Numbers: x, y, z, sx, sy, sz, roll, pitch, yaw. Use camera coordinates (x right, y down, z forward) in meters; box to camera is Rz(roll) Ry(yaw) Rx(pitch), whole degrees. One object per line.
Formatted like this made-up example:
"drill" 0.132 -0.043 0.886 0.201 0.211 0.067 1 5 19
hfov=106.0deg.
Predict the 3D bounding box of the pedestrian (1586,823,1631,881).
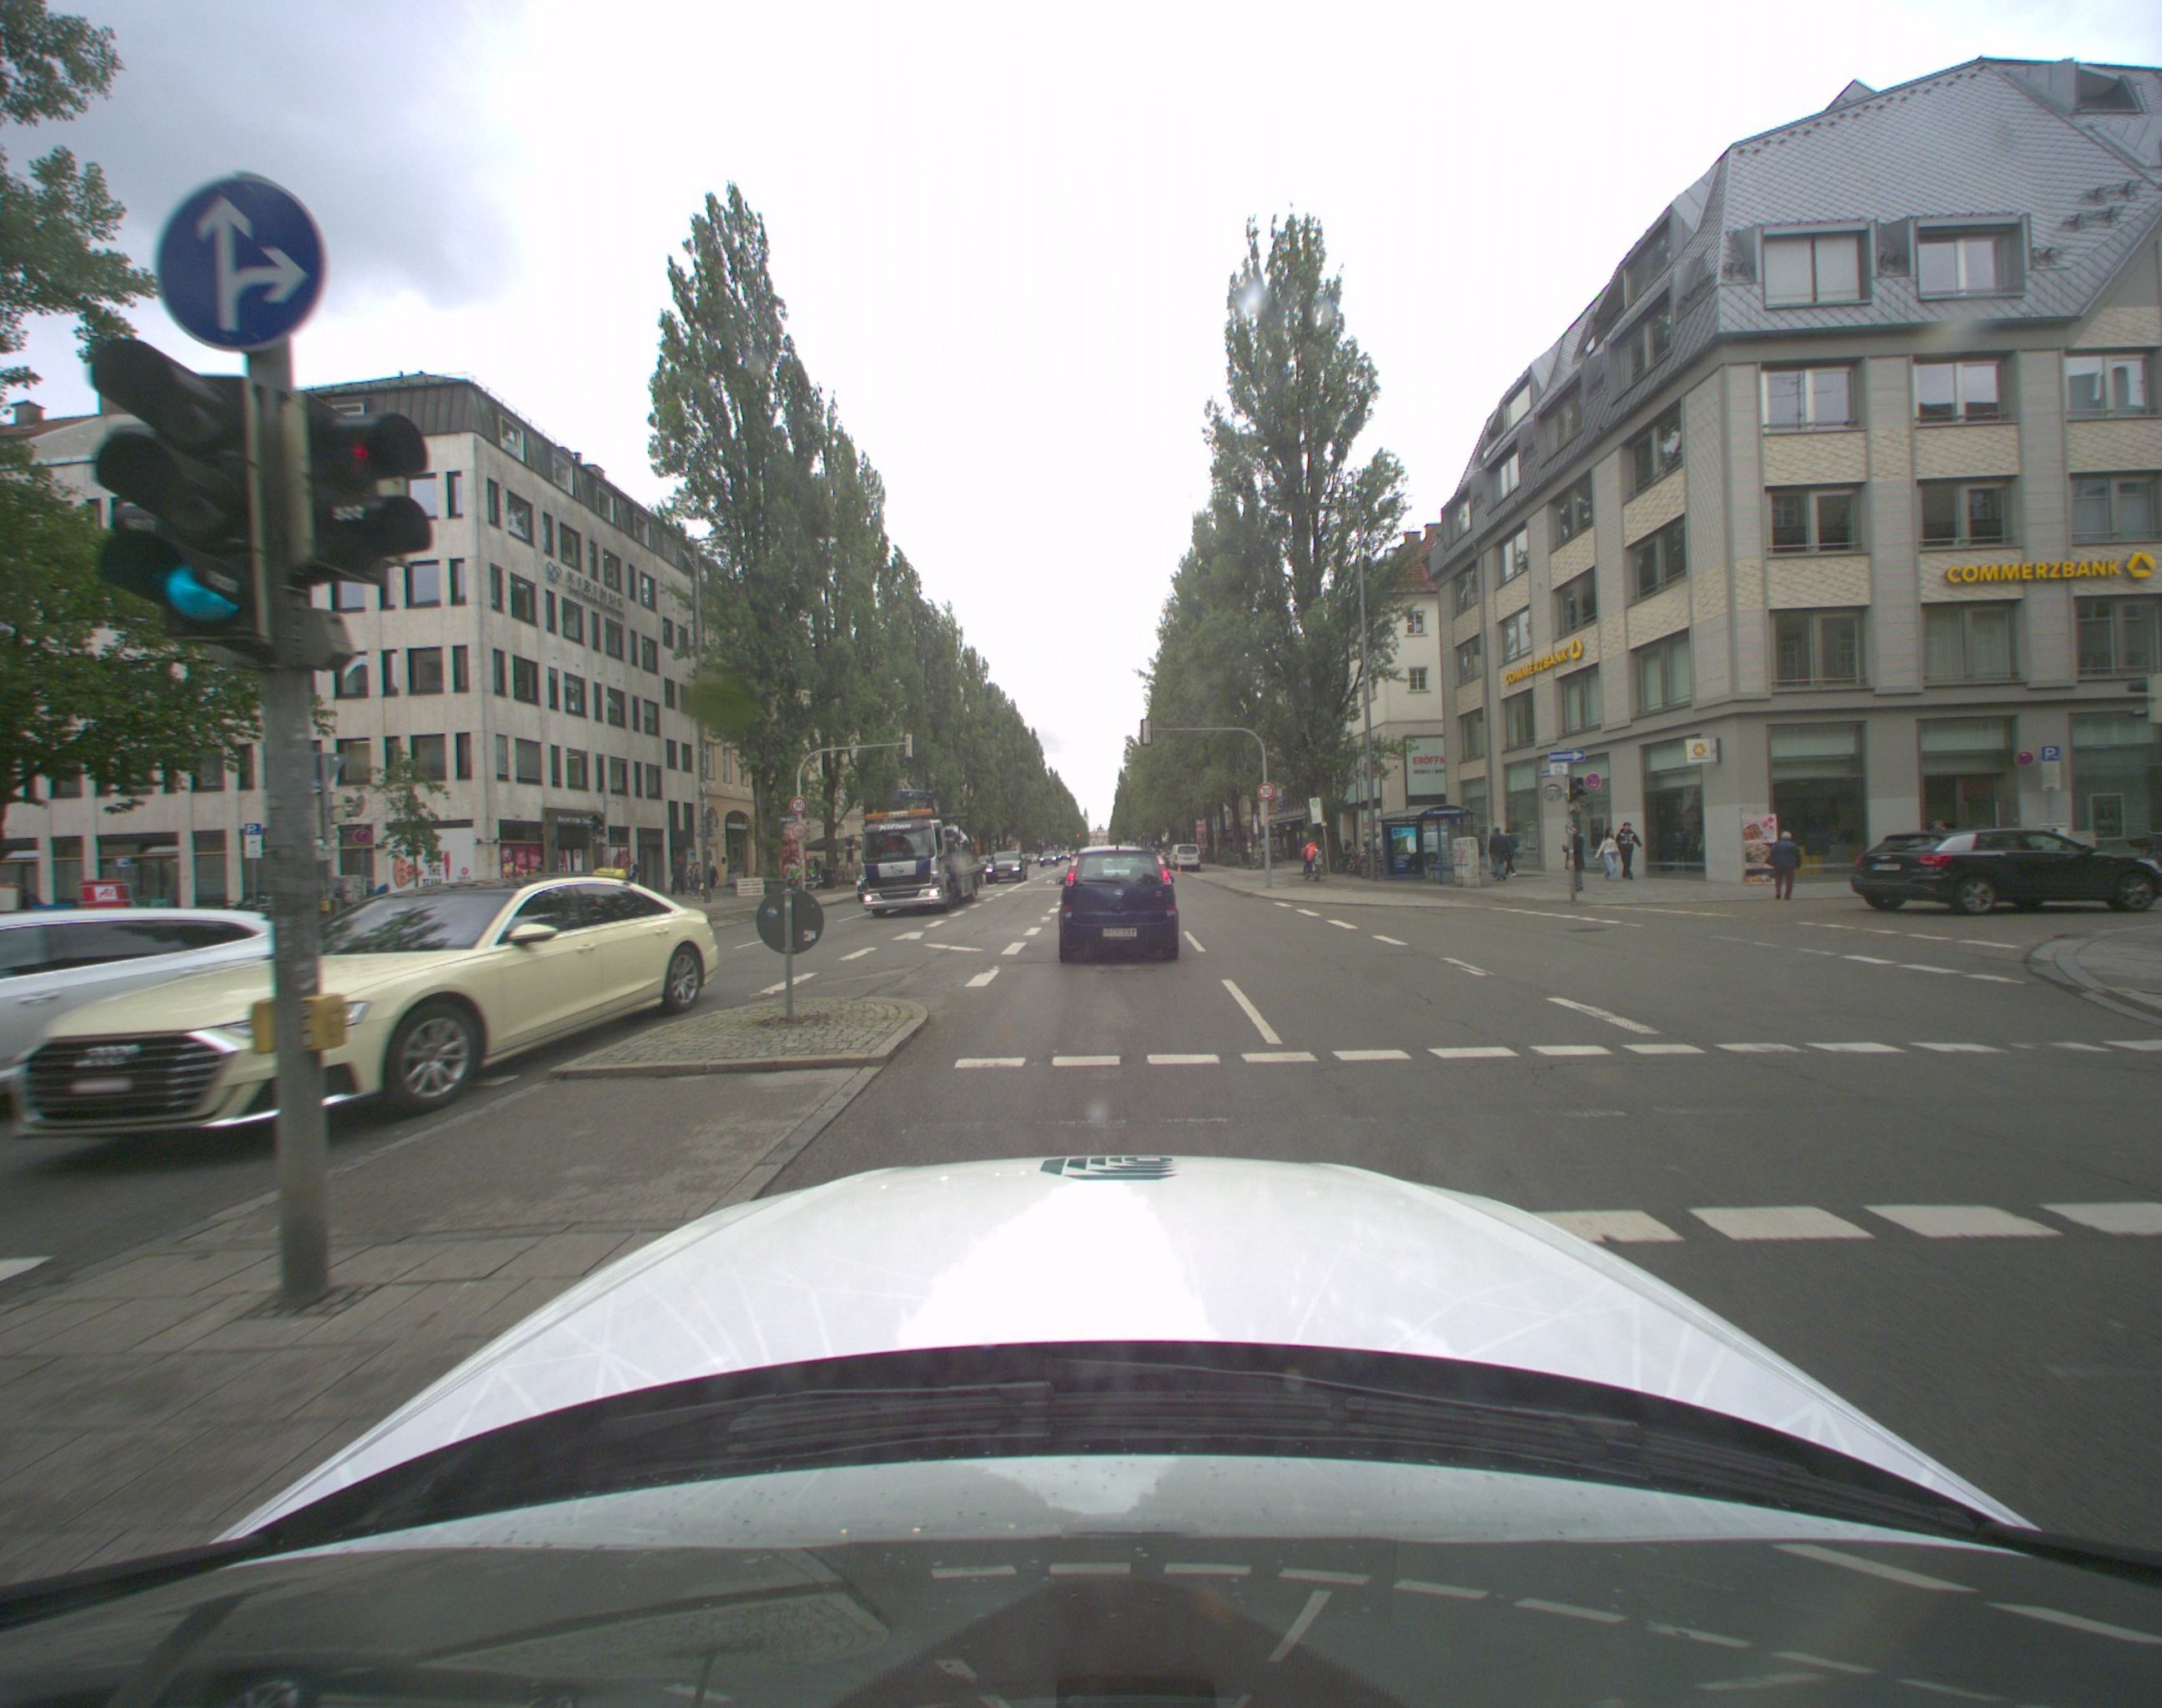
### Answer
"pedestrian" 16.677 -0.060 25.758 0.747 1.758 1.018 -2 0 3

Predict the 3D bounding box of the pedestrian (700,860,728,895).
"pedestrian" -17.080 1.065 37.886 0.747 1.567 0.990 -2 0 3

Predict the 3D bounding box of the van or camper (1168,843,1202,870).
"van or camper" 7.540 0.164 59.342 1.862 1.883 4.904 -2 0 1

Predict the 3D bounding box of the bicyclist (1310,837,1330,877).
"bicyclist" 9.585 0.130 32.705 0.619 1.588 0.391 -3 0 0

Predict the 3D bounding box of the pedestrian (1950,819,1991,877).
"pedestrian" 24.236 -0.157 22.195 0.442 1.531 0.584 -2 0 -2

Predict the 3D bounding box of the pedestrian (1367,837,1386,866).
"pedestrian" 17.973 -0.180 49.565 0.747 1.718 0.963 -2 0 2

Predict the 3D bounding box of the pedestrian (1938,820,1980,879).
"pedestrian" 23.317 -0.107 21.630 0.442 1.531 0.584 -2 0 -2

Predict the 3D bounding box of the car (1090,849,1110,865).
"car" 1.953 0.259 83.549 1.987 1.497 4.000 -2 0 0

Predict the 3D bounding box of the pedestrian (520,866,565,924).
"pedestrian" -16.572 1.250 25.087 0.724 1.740 0.942 -1 0 1

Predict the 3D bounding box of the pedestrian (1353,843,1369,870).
"pedestrian" 17.229 0.143 50.170 0.649 1.662 0.963 -2 0 2

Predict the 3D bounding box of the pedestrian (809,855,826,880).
"pedestrian" -18.348 0.930 56.794 0.840 1.744 0.955 -1 0 2

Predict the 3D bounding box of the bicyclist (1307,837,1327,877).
"bicyclist" 9.593 0.130 33.086 0.619 1.588 0.481 -3 0 0

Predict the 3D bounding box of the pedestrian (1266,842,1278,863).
"pedestrian" 17.439 -0.118 74.359 0.824 1.841 1.099 -2 0 0

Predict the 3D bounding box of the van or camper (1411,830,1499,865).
"van or camper" 21.061 -0.354 45.981 4.085 1.867 1.901 -1 0 5

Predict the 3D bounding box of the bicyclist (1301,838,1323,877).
"bicyclist" 9.603 0.130 33.851 0.619 1.588 0.753 -3 0 1

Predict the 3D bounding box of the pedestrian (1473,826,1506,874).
"pedestrian" 15.196 -0.136 30.293 0.747 1.758 0.859 -2 -2 2

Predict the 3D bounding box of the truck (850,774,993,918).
"truck" -4.617 -0.234 25.500 2.454 3.670 8.442 -2 0 1

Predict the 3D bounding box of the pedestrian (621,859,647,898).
"pedestrian" -20.910 1.132 38.133 0.696 1.787 0.821 -2 0 2

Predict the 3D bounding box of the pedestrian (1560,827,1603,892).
"pedestrian" 13.845 0.152 22.543 0.705 1.758 0.753 -2 0 2

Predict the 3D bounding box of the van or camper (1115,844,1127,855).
"van or camper" 9.604 -1.016 195.804 2.467 2.580 5.846 -3 0 2

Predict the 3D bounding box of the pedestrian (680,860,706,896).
"pedestrian" -18.538 1.146 38.957 0.729 1.681 0.978 -1 0 1

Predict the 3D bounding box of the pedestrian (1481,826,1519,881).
"pedestrian" 14.387 -0.024 27.974 0.815 1.818 0.890 -2 0 0

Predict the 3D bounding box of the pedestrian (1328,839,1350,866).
"pedestrian" 16.148 -0.088 50.985 0.992 1.673 0.816 -2 0 -40

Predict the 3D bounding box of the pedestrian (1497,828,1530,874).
"pedestrian" 16.761 -0.125 31.604 0.747 1.717 0.963 -2 0 3

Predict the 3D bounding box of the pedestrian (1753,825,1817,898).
"pedestrian" 16.505 0.183 19.117 0.747 1.636 0.734 -4 -2 3

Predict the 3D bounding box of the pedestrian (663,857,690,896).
"pedestrian" -19.362 1.069 38.971 0.797 1.787 0.912 -1 0 1

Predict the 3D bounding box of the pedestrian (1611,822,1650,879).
"pedestrian" 17.556 -0.104 26.035 0.747 1.758 0.711 -2 0 2

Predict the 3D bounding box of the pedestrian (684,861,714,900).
"pedestrian" -16.194 1.111 34.542 0.775 1.618 0.935 -2 0 1

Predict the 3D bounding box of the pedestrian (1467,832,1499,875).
"pedestrian" 15.961 -0.030 32.357 0.747 1.677 0.963 -3 0 3

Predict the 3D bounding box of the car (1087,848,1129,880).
"car" 1.317 0.473 41.751 1.987 1.497 4.000 -2 0 0

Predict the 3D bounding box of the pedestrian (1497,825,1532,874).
"pedestrian" 15.977 -0.149 30.015 0.747 1.758 0.859 -2 -2 2
